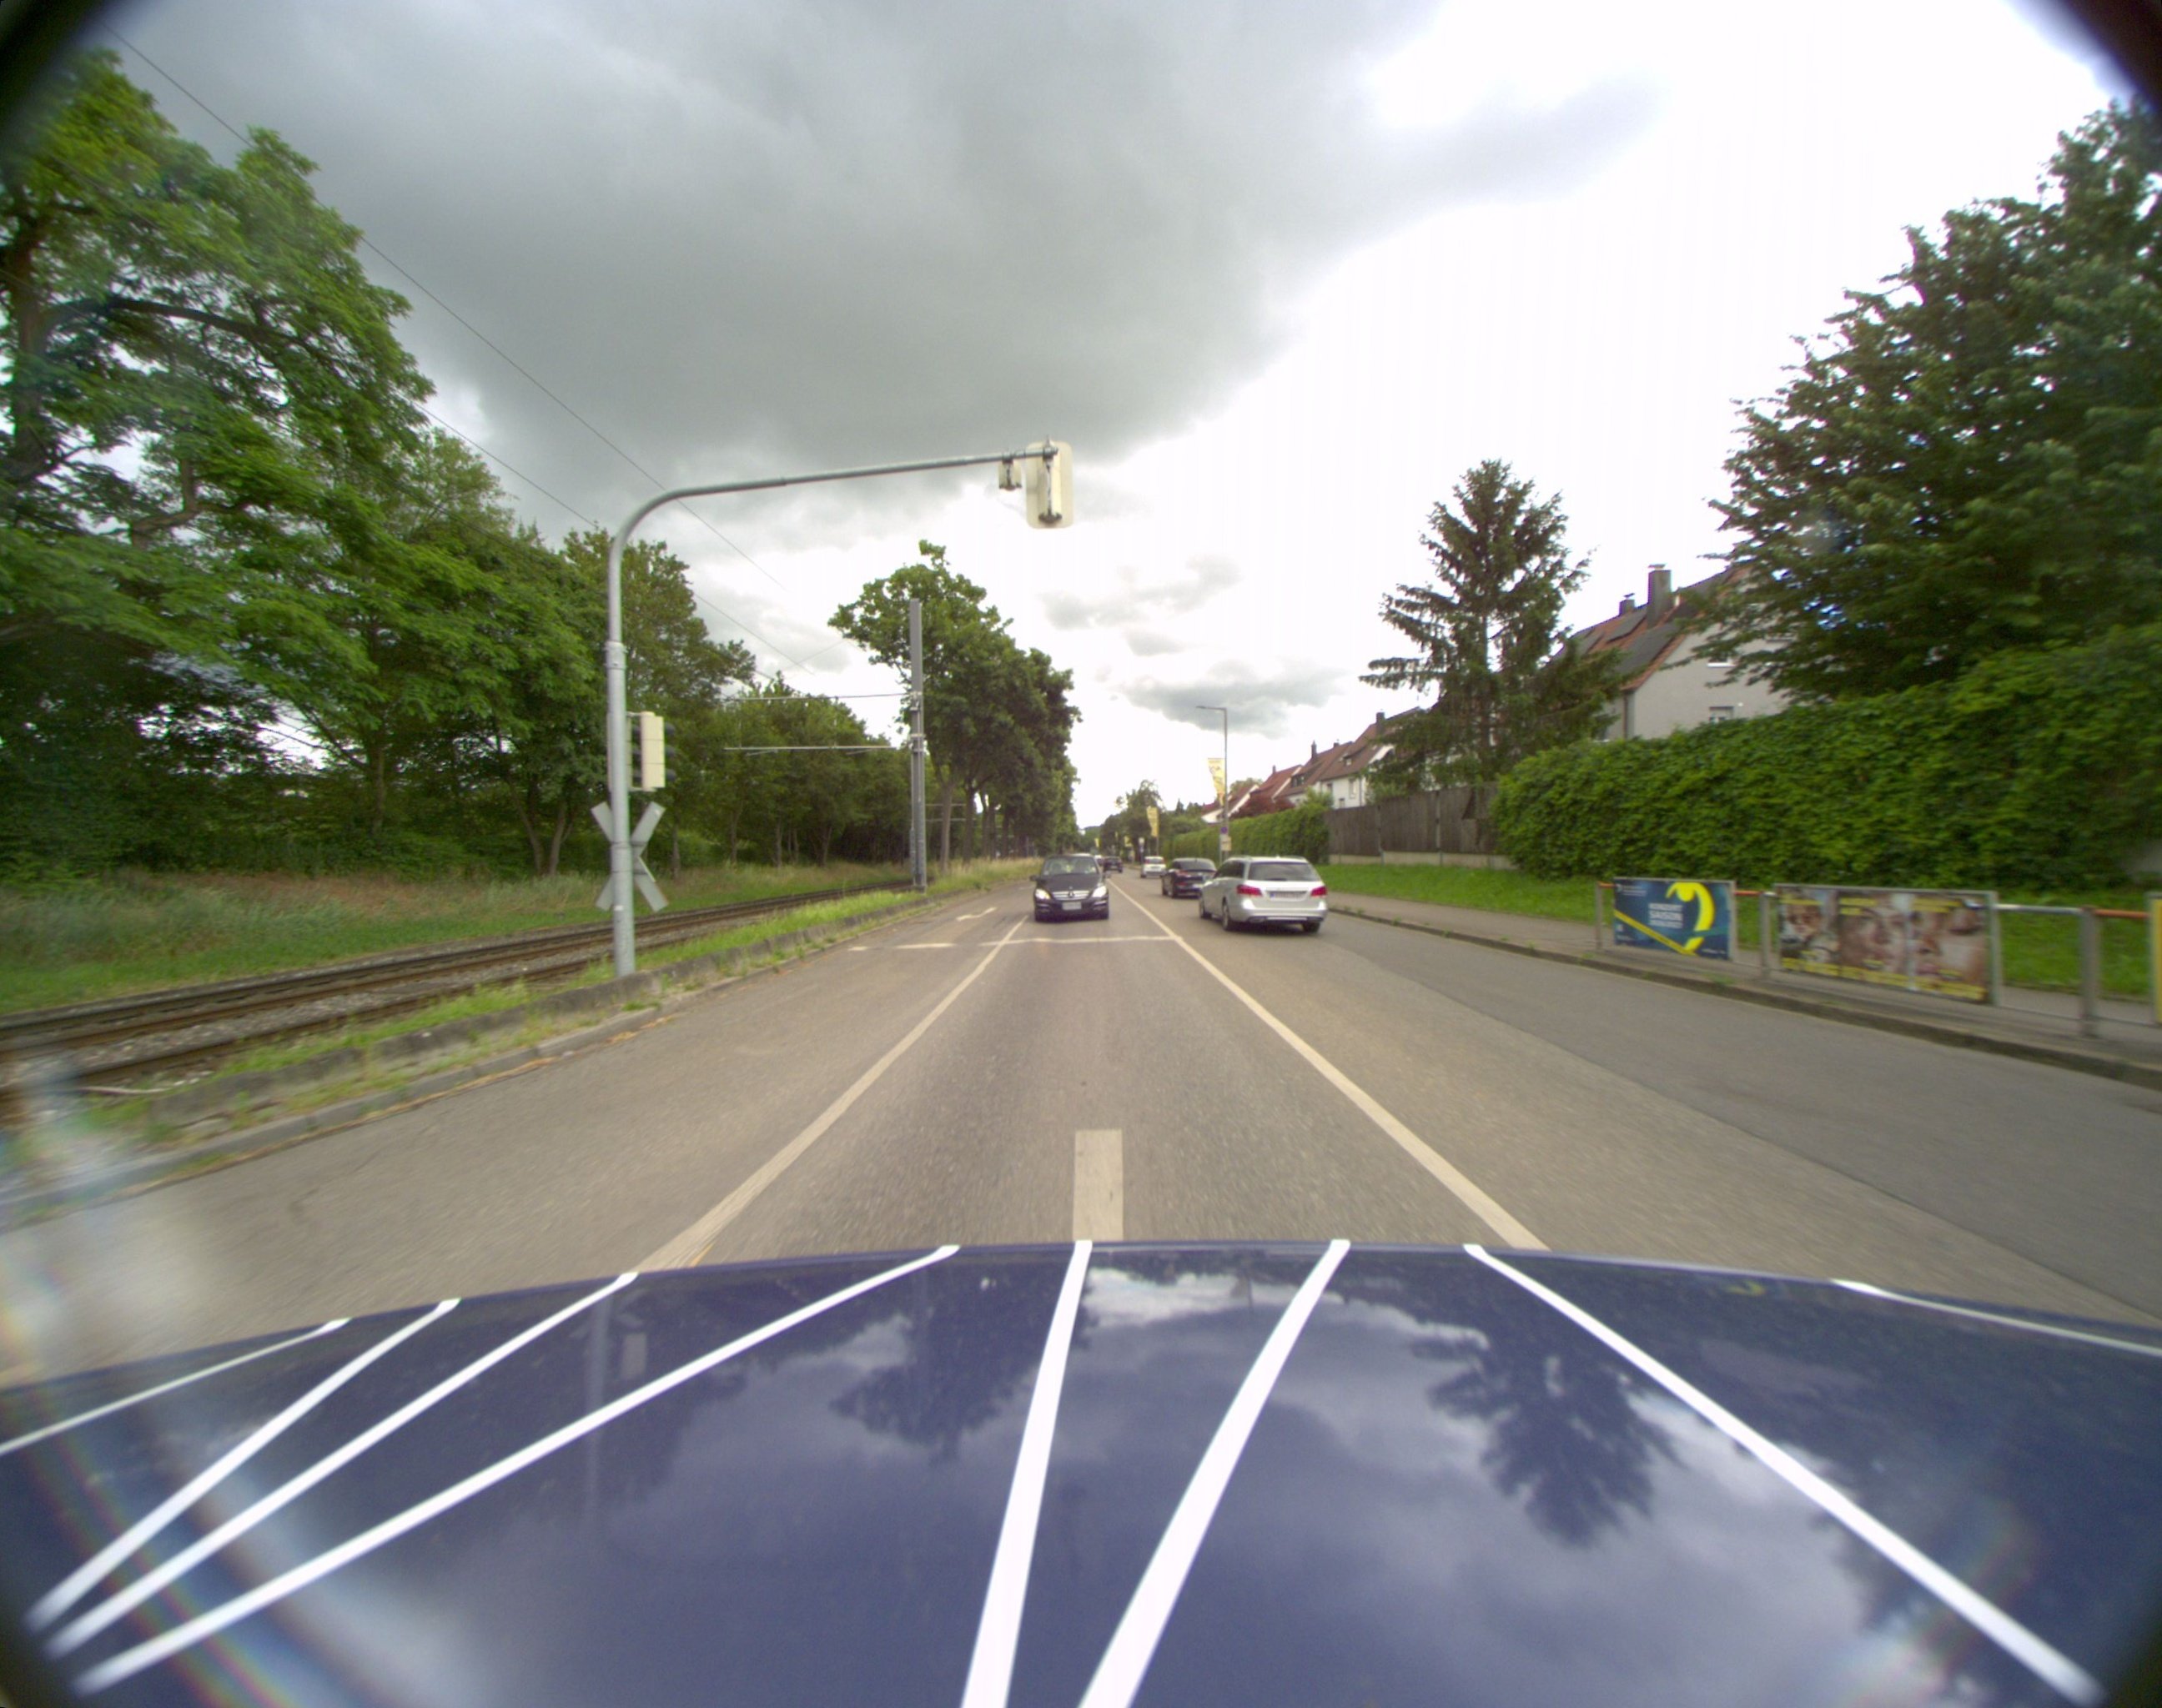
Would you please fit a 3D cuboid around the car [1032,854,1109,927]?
[{"bbox_3d":[-0.259,0.832,19.525,1.683,1.565,4.482,-2,0,0],"label":"car"}]

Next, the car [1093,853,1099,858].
[{"bbox_3d":[4.852,0.491,250.607,1.737,1.367,4.239,-1,0,0],"label":"car"}]

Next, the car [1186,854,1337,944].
[{"bbox_3d":[3.612,0.808,16.289,1.824,1.558,5.204,-2,0,-2],"label":"car"}]

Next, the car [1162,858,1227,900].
[{"bbox_3d":[4.112,0.864,28.128,1.817,1.365,4.160,-1,0,1],"label":"car"}]

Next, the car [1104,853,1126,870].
[{"bbox_3d":[3.271,0.695,72.772,1.817,1.515,4.176,1,0,-1],"label":"car"}]

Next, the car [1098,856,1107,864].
[{"bbox_3d":[4.253,1.217,148.949,1.756,1.510,4.000,-1,0,1],"label":"car"}]

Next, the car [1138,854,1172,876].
[{"bbox_3d":[5.244,0.768,54.366,1.817,1.515,4.700,1,0,-2],"label":"car"}]

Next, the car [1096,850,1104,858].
[{"bbox_3d":[4.930,0.027,195.318,1.911,1.921,4.910,2,0,-1],"label":"car"}]
